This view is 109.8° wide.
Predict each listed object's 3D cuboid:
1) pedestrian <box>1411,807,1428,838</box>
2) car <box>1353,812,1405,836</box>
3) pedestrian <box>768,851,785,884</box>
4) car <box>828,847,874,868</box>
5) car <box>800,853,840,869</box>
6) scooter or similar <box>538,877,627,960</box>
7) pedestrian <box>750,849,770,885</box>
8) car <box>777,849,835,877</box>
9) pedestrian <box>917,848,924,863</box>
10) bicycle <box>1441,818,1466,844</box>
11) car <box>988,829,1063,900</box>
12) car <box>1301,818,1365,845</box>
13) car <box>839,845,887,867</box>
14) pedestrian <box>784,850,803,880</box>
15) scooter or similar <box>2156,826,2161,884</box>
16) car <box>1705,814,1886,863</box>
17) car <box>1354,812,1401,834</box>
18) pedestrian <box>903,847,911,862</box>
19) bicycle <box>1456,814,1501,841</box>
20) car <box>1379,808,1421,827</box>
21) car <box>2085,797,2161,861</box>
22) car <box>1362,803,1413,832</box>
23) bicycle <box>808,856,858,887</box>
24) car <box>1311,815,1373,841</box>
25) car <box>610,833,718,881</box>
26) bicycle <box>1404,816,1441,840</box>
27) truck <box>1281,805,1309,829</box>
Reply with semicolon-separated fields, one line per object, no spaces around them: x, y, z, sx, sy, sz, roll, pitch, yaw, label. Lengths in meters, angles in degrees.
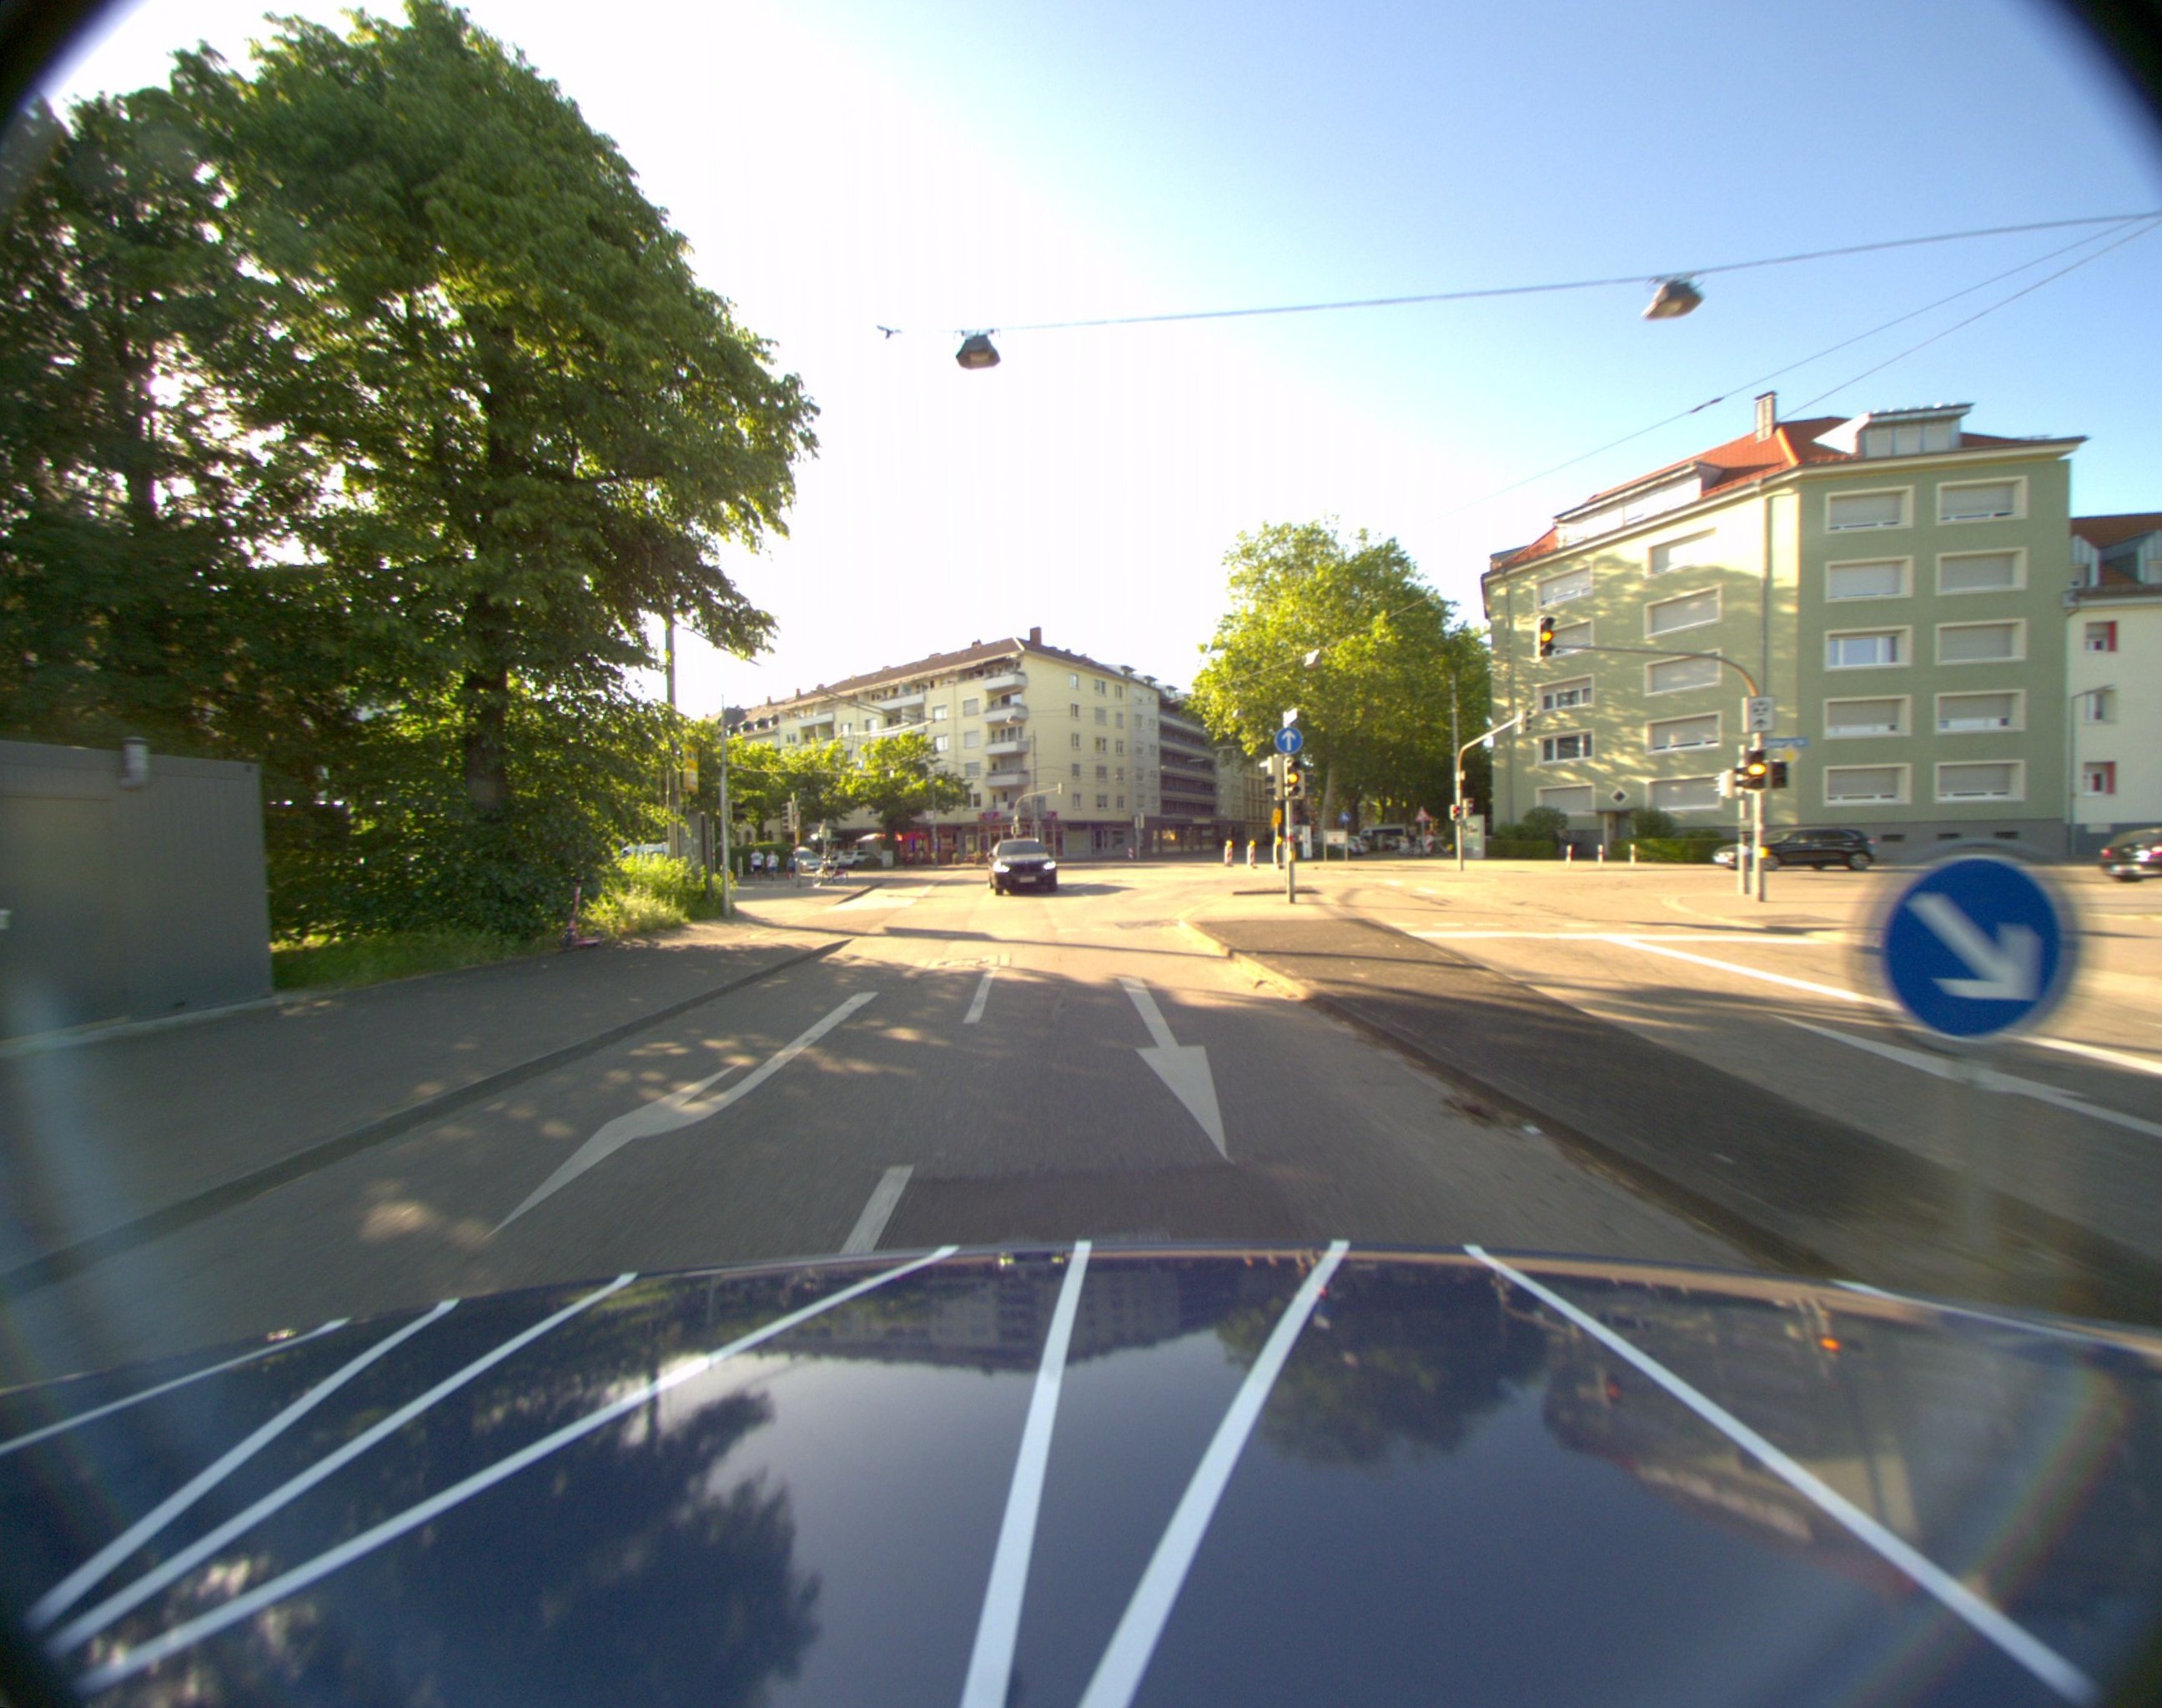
22.040;-2.034;49.443;0.695;1.953;0.929;-1;5;38;pedestrian
26.335;-2.669;67.229;3.991;1.828;1.818;-2;4;29;car
-16.693;0.738;41.685;0.555;1.727;0.627;-8;5;-37;pedestrian
-19.065;0.250;63.007;1.575;1.395;3.203;-1;5;44;car
-22.237;0.589;64.766;1.323;1.077;2.801;-1;5;44;car
-8.297;1.031;12.728;0.385;1.211;1.832;-1;1;-5;scooter or similar
-17.660;0.701;41.791;0.595;1.921;0.852;-8;5;-37;pedestrian
-19.559;0.651;53.956;4.207;1.797;1.859;-1;5;40;car
-13.582;0.100;64.353;0.384;1.269;0.494;-4;1;11;pedestrian
22.425;-1.385;45.789;0.774;1.373;2.052;-2;6;9;bicycle
-1.955;0.246;25.228;1.942;1.923;4.517;-5;4;-9;car
18.404;-1.641;55.536;4.139;1.632;1.776;-2;4;29;car
-17.450;0.150;60.885;1.575;1.479;3.203;-1;5;44;car
-15.694;0.584;41.494;0.672;1.584;0.726;-8;5;-37;pedestrian
21.319;0.021;14.606;1.269;1.138;0.593;1;0;-41;scooter or similar
24.542;-0.534;26.270;4.201;1.485;1.943;-2;1;9;car
29.218;-3.051;74.854;3.991;1.828;1.818;-2;4;29;car
-15.258;0.076;66.692;0.384;1.269;0.494;-4;1;11;pedestrian
21.481;-1.456;41.082;0.776;1.373;2.047;-6;6;-28;bicycle
35.622;-4.086;84.822;3.991;1.828;1.818;-2;4;29;car
27.684;-0.652;18.513;3.897;1.521;1.701;-2;-1;5;car
31.022;-3.660;76.897;4.410;2.613;1.971;-2;5;29;car
-10.091;0.701;30.987;0.626;1.121;1.809;-1;2;41;bicycle
19.758;-1.970;57.500;4.139;1.632;1.776;-2;4;29;car
-21.711;0.107;39.674;4.563;2.165;1.946;-5;4;-37;car
21.661;-1.638;48.197;2.046;1.455;0.727;2;7;37;bicycle
31.377;-5.443;111.199;2.338;2.957;8.040;-2;4;27;truck
